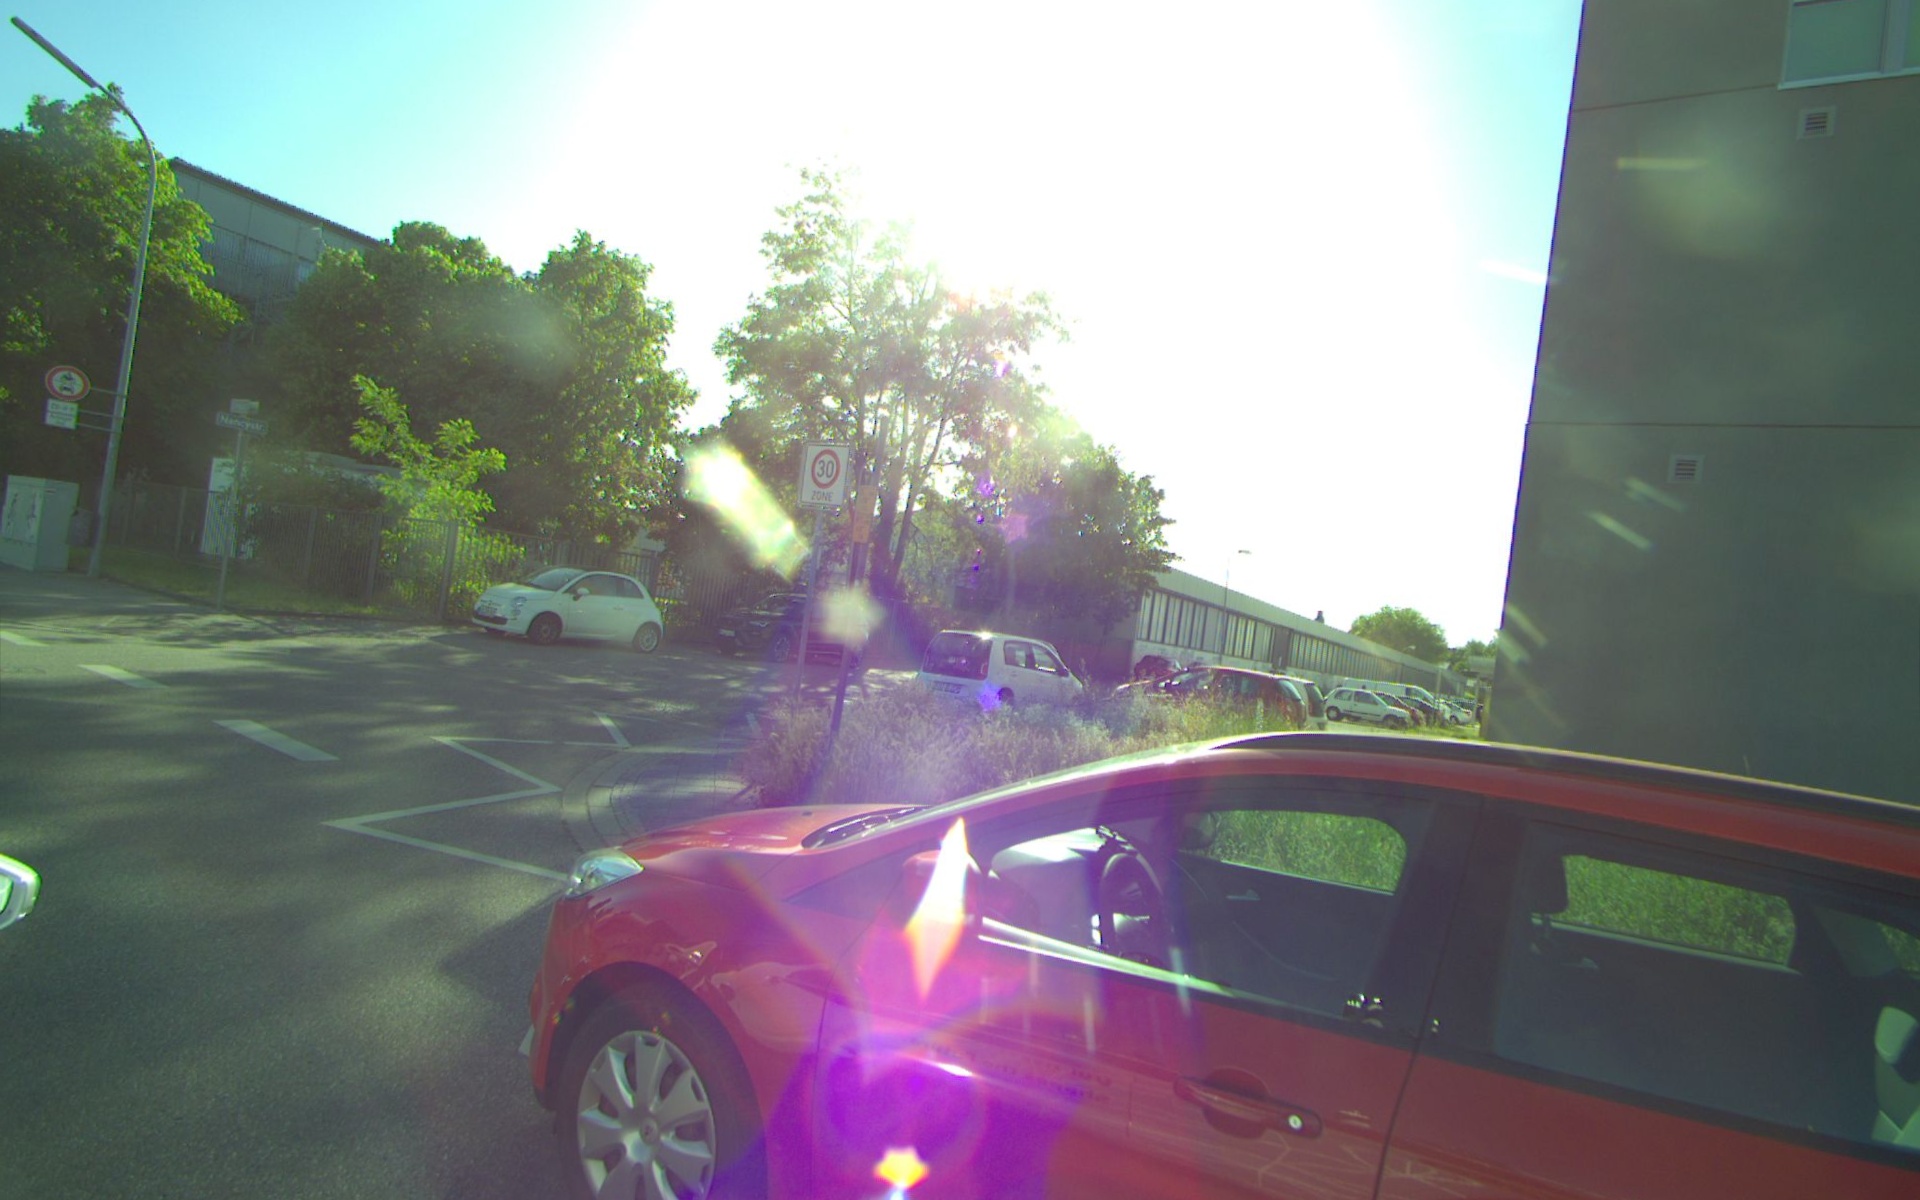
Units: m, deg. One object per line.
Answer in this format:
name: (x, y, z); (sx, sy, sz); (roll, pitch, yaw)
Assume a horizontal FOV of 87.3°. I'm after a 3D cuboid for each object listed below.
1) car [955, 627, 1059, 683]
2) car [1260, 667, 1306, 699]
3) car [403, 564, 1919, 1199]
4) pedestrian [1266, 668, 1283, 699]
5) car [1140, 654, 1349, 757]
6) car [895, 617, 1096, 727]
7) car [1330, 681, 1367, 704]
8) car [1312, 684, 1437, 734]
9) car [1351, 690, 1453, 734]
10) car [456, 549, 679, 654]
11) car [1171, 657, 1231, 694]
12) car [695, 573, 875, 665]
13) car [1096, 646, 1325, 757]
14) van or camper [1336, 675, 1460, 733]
car: (1.625, 1.856, 33.455); (1.682, 1.454, 3.996); (7, -2, 30)
car: (20.734, 5.331, 64.469); (1.683, 1.688, 3.994); (7, -2, 32)
car: (0.940, 0.993, 2.345); (4.377, 1.517, 1.823); (7, -2, 31)
pedestrian: (18.120, 4.807, 57.952); (0.657, 1.681, 0.486); (8, 0, 32)
car: (6.166, 2.246, 21.915); (3.934, 1.538, 1.695); (7, 0, 32)
car: (0.685, 1.261, 17.003); (1.688, 1.475, 3.329); (7, -1, 36)
car: (31.598, 7.543, 81.735); (1.955, 1.454, 3.994); (7, -2, 32)
car: (17.614, 4.601, 42.790); (4.525, 1.365, 1.997); (7, -1, 31)
car: (20.557, 5.182, 46.826); (4.019, 1.365, 1.760); (7, -1, 31)
car: (-7.267, 0.084, 18.940); (1.574, 1.503, 3.553); (7, -1, 32)
car: (11.999, 3.777, 49.923); (1.682, 1.454, 3.996); (7, -2, 30)
car: (-4.035, 0.516, 23.851); (1.727, 1.656, 4.160); (7, -1, 32)
car: (4.904, 1.954, 19.873); (3.934, 1.488, 1.695); (7, 0, 32)
van or camper: (21.802, 5.164, 50.162); (5.211, 1.981, 1.996); (7, -1, 34)
